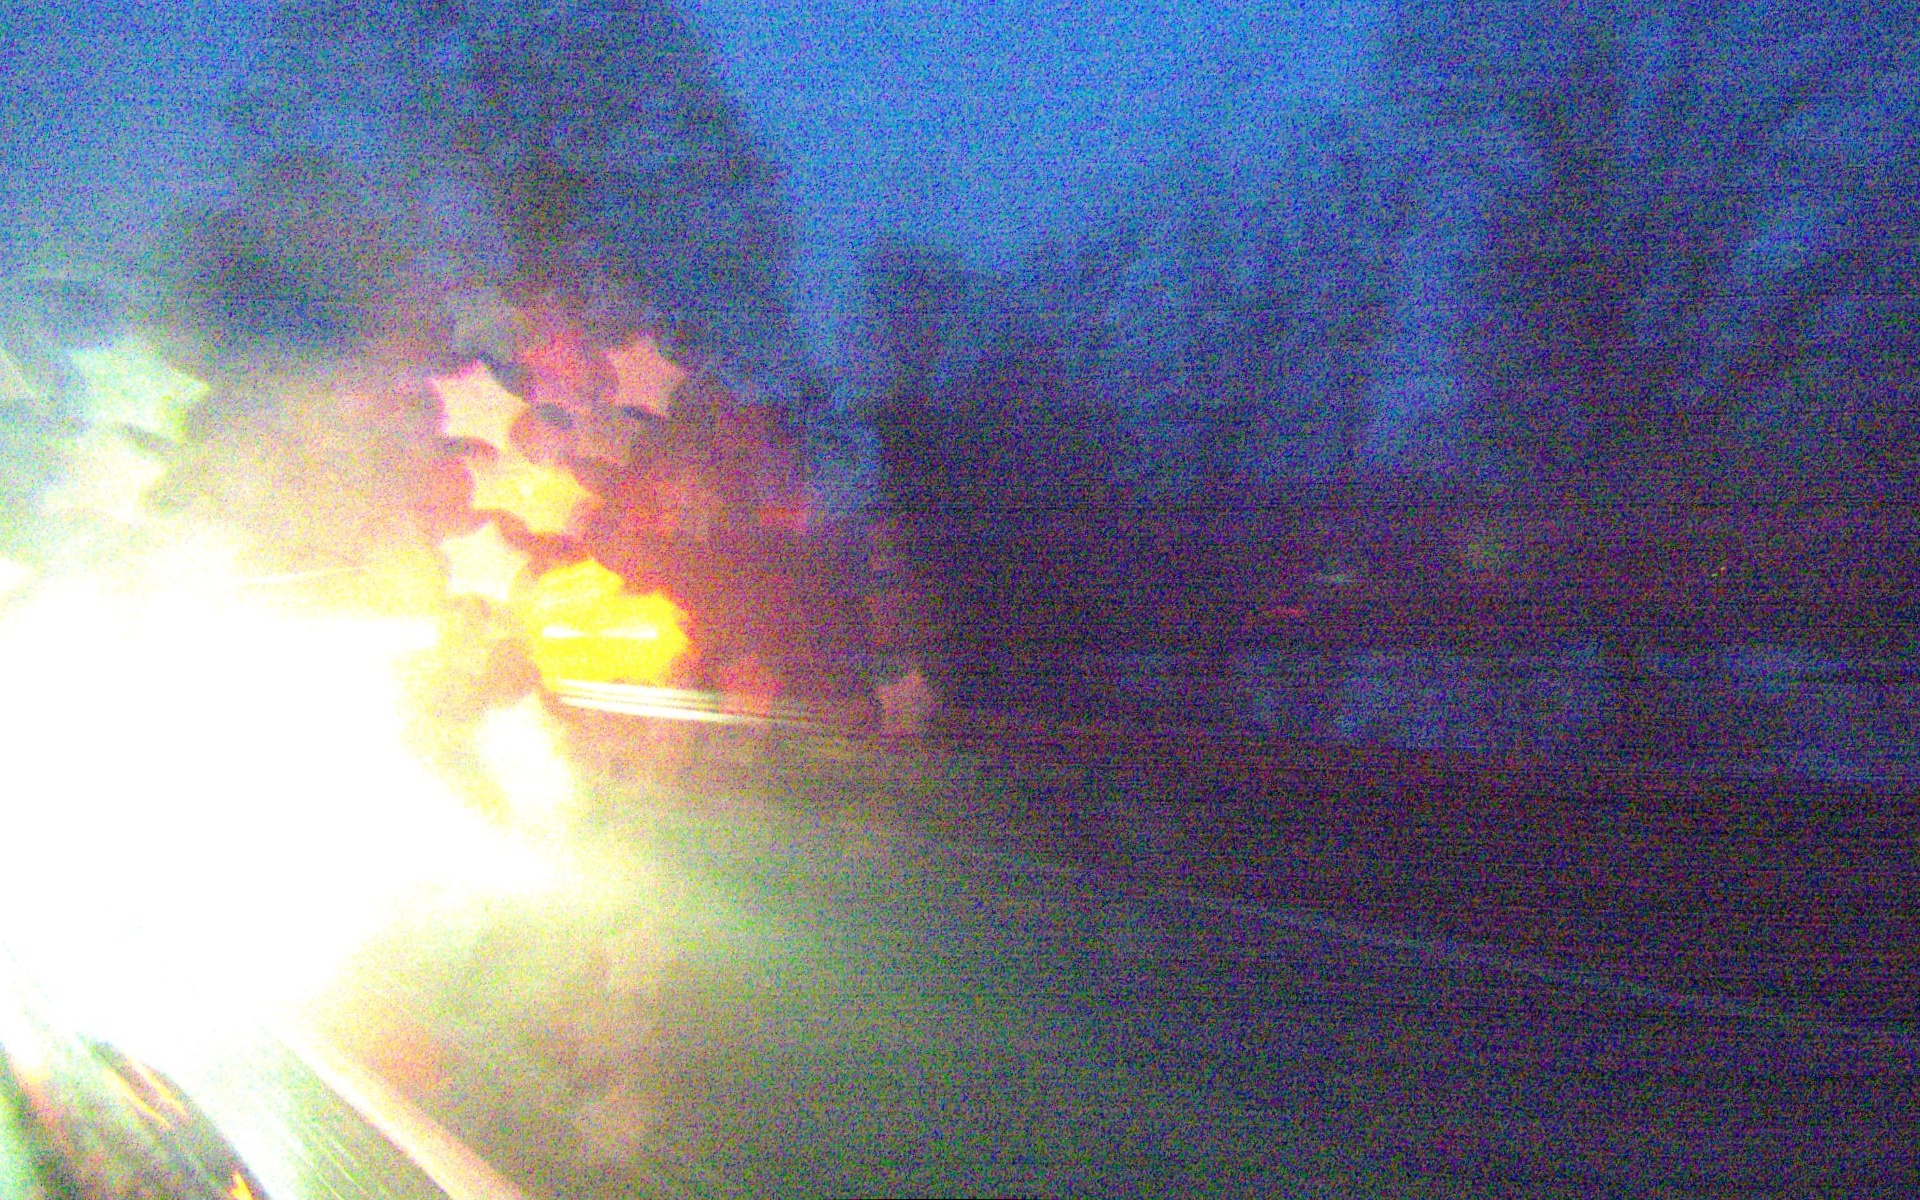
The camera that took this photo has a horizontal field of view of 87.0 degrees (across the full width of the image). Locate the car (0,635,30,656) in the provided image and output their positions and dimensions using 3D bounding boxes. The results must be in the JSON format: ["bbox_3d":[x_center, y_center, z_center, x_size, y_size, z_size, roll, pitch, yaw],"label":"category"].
[{"bbox_3d":[-71.894,3.447,77.026,1.544,1.537,3.489,3,-5,-43],"label":"car"}]

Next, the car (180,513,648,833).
[{"bbox_3d":[-4.786,0.536,8.606,4.452,2.029,1.973,-2,-3,40],"label":"car"}]

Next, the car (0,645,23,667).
[{"bbox_3d":[-67.488,3.964,71.653,1.576,1.522,3.604,3,-5,-42],"label":"car"}]
